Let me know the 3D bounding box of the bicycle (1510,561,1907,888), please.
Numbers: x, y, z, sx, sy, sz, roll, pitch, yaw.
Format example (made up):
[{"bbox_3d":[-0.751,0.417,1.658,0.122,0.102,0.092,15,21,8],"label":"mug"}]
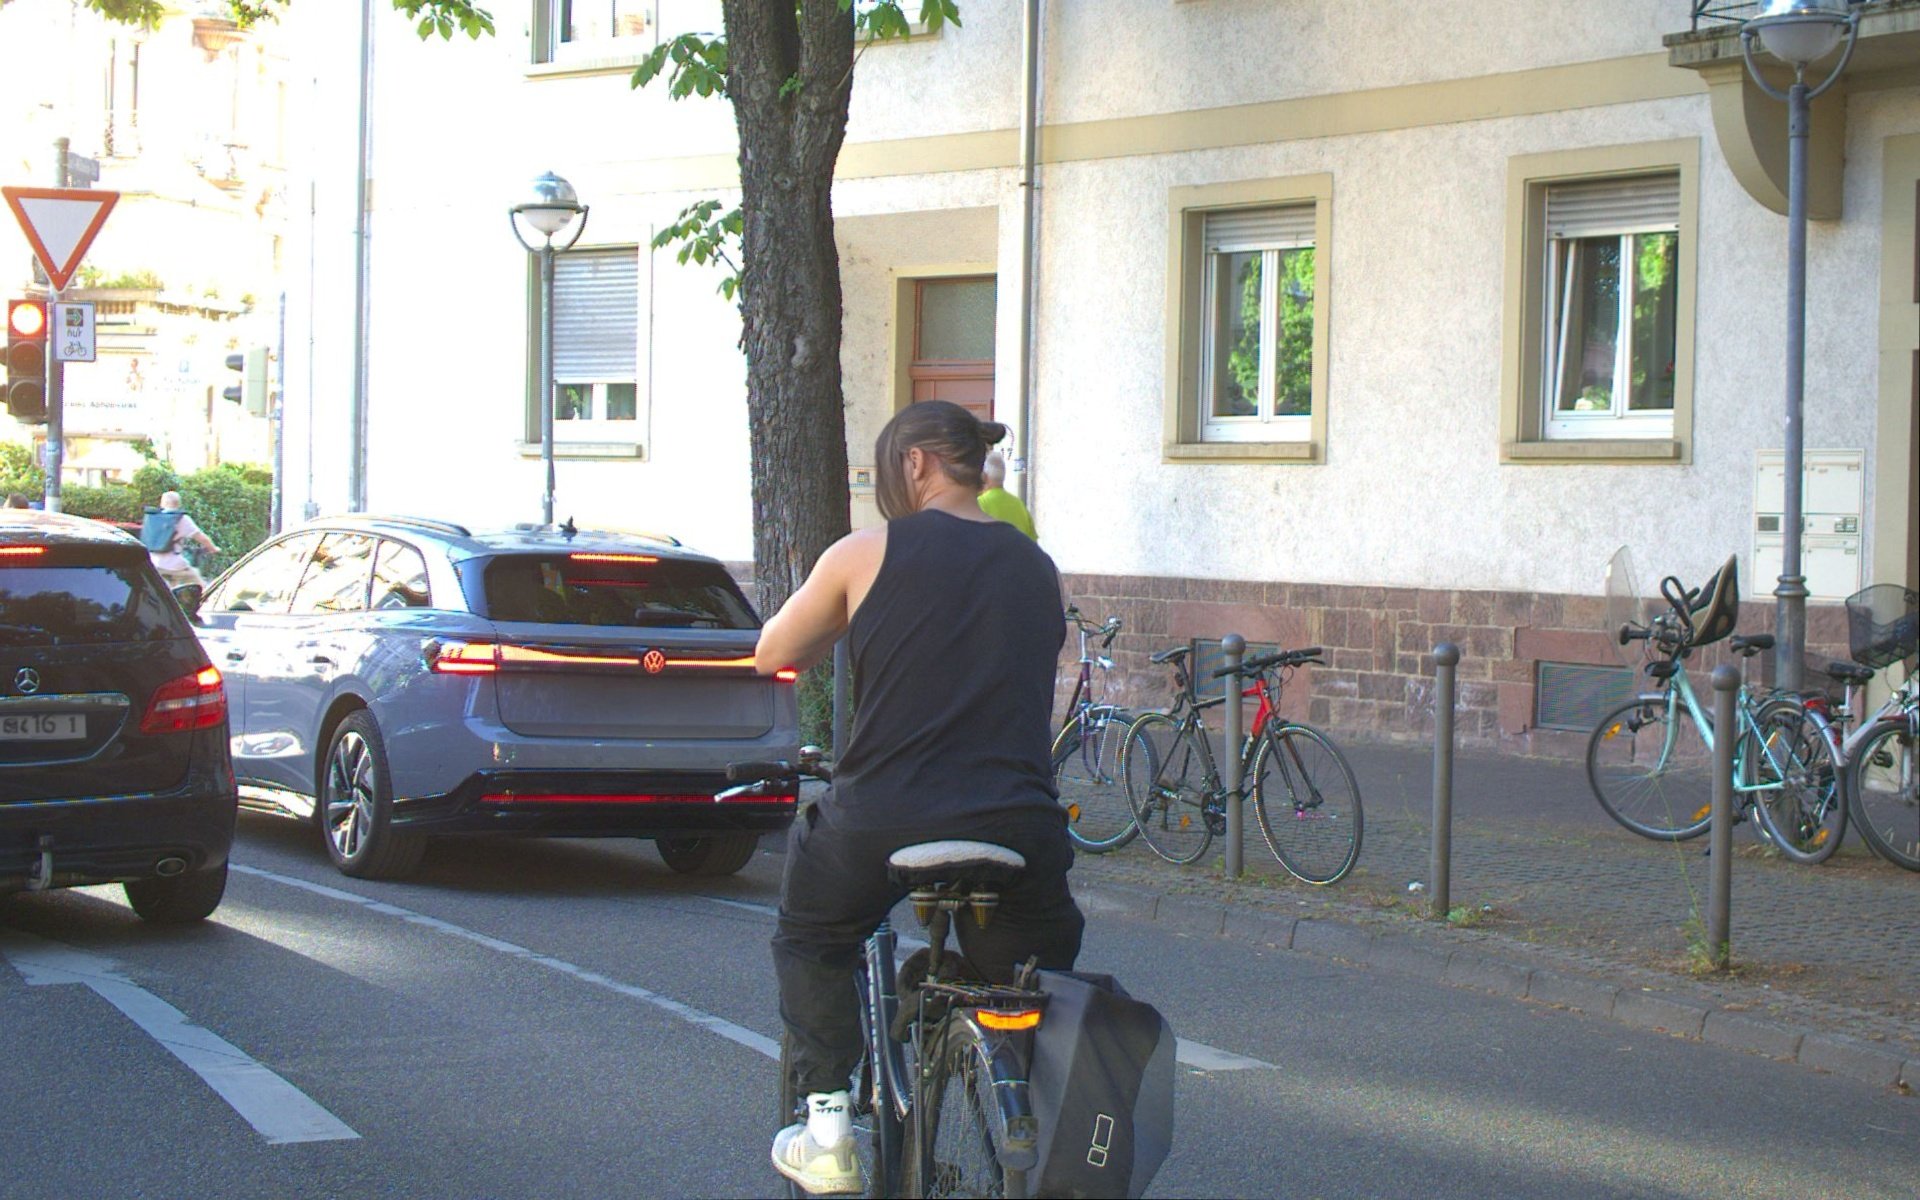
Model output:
[{"bbox_3d":[3.197,0.491,14.899,0.717,1.273,1.967,-1,2,-21],"label":"bicycle"}]

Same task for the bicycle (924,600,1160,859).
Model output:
[{"bbox_3d":[0.361,0.573,16.016,0.480,1.060,1.636,-2,3,-22],"label":"bicycle"}]

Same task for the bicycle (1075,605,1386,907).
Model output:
[{"bbox_3d":[1.106,0.617,14.428,0.526,1.103,1.741,-2,3,-24],"label":"bicycle"}]

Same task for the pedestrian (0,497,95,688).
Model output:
[{"bbox_3d":[-8.207,-0.074,30.450,0.901,1.629,0.726,3,2,-21],"label":"pedestrian"}]

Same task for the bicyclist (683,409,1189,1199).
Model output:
[{"bbox_3d":[-0.074,0.494,6.269,0.686,1.650,0.990,0,2,-15],"label":"bicyclist"}]

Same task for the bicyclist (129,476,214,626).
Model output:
[{"bbox_3d":[-8.474,-0.529,36.954,0.529,1.592,0.673,2,1,31],"label":"bicyclist"}]

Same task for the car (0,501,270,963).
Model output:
[{"bbox_3d":[-4.250,0.400,13.203,1.790,1.536,3.860,-2,2,-34],"label":"car"}]

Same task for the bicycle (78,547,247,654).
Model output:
[{"bbox_3d":[-8.540,-0.005,36.889,0.535,1.103,1.963,2,1,31],"label":"bicycle"}]

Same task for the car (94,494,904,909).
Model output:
[{"bbox_3d":[-2.284,0.380,15.804,1.970,1.580,4.475,3,0,-31],"label":"car"}]

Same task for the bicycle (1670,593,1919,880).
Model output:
[{"bbox_3d":[3.909,0.559,14.916,0.667,1.103,1.967,1,1,-19],"label":"bicycle"}]

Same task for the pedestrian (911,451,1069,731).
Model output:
[{"bbox_3d":[0.184,-0.077,21.801,0.643,1.721,0.888,-2,3,-27],"label":"pedestrian"}]
